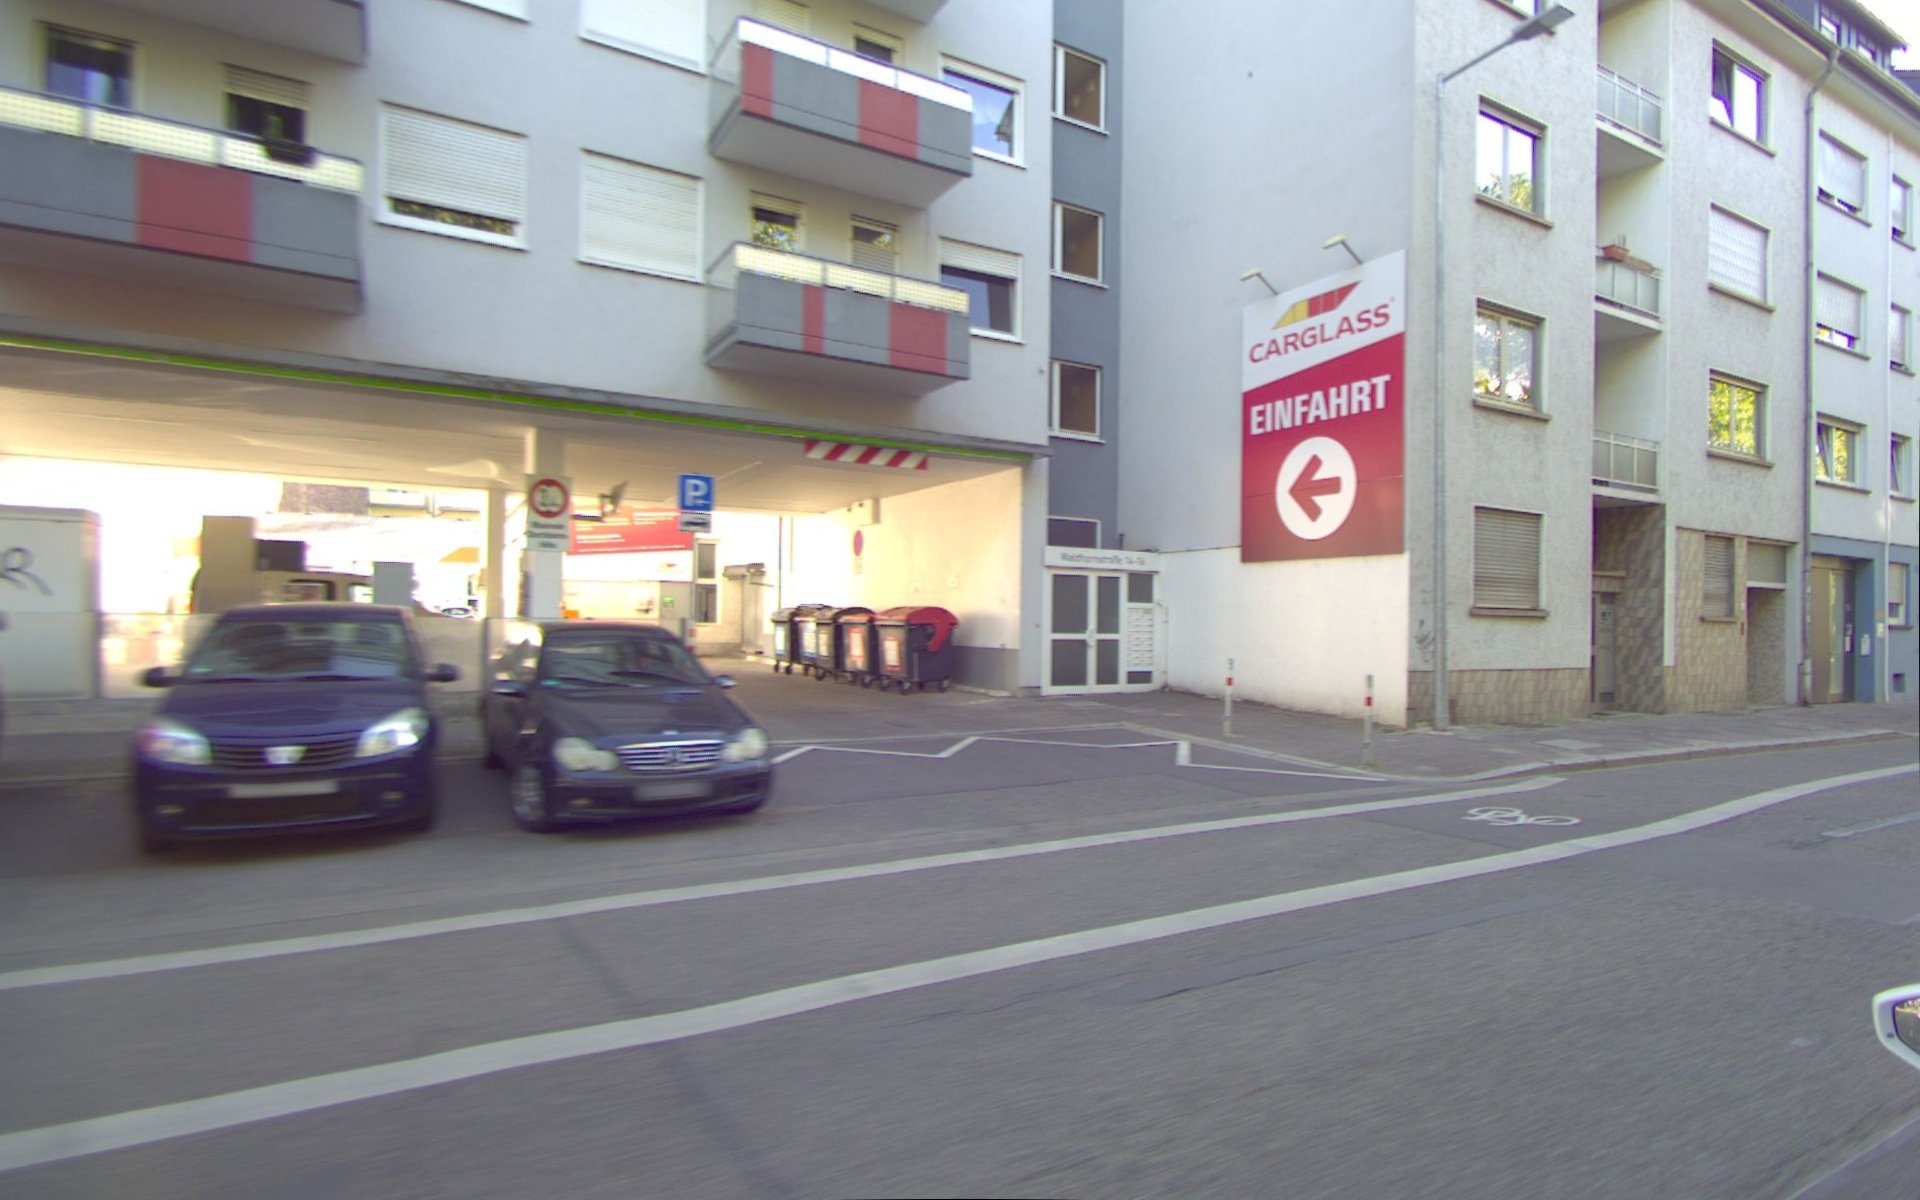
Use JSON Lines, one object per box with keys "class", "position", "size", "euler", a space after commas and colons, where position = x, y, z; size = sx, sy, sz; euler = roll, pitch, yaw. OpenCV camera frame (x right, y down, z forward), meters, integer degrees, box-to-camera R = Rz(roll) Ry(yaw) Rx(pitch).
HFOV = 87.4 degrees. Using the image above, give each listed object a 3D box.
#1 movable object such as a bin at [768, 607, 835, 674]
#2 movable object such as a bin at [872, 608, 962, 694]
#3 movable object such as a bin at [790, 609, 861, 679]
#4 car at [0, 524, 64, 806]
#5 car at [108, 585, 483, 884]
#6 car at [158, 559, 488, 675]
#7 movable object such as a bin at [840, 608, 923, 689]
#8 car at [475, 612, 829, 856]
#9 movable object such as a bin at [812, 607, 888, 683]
{"class": "movable object such as a bin", "position": [-3.512, 0.888, 22.214], "size": [1.077, 1.419, 1.272], "euler": [1, -1, -30]}
{"class": "movable object such as a bin", "position": [-0.754, 0.859, 17.347], "size": [1.077, 1.419, 1.272], "euler": [1, -1, -30]}
{"class": "movable object such as a bin", "position": [-2.828, 0.908, 21.052], "size": [1.077, 1.419, 1.272], "euler": [1, -1, -30]}
{"class": "car", "position": [-7.299, 0.462, 5.905], "size": [2.120, 1.978, 4.400], "euler": [1, 1, -30]}
{"class": "car", "position": [-4.934, 0.740, 7.861], "size": [1.864, 1.584, 4.153], "euler": [1, 1, -30]}
{"class": "car", "position": [-10.692, 0.346, 17.240], "size": [4.532, 1.770, 1.712], "euler": [2, -2, -31]}
{"class": "movable object such as a bin", "position": [-1.456, 0.878, 18.515], "size": [1.077, 1.419, 1.272], "euler": [1, -1, -30]}
{"class": "car", "position": [-2.879, 0.888, 8.622], "size": [2.022, 1.398, 4.209], "euler": [2, 0, -30]}
{"class": "movable object such as a bin", "position": [-2.169, 0.869, 19.736], "size": [1.077, 1.419, 1.272], "euler": [1, -1, -30]}
